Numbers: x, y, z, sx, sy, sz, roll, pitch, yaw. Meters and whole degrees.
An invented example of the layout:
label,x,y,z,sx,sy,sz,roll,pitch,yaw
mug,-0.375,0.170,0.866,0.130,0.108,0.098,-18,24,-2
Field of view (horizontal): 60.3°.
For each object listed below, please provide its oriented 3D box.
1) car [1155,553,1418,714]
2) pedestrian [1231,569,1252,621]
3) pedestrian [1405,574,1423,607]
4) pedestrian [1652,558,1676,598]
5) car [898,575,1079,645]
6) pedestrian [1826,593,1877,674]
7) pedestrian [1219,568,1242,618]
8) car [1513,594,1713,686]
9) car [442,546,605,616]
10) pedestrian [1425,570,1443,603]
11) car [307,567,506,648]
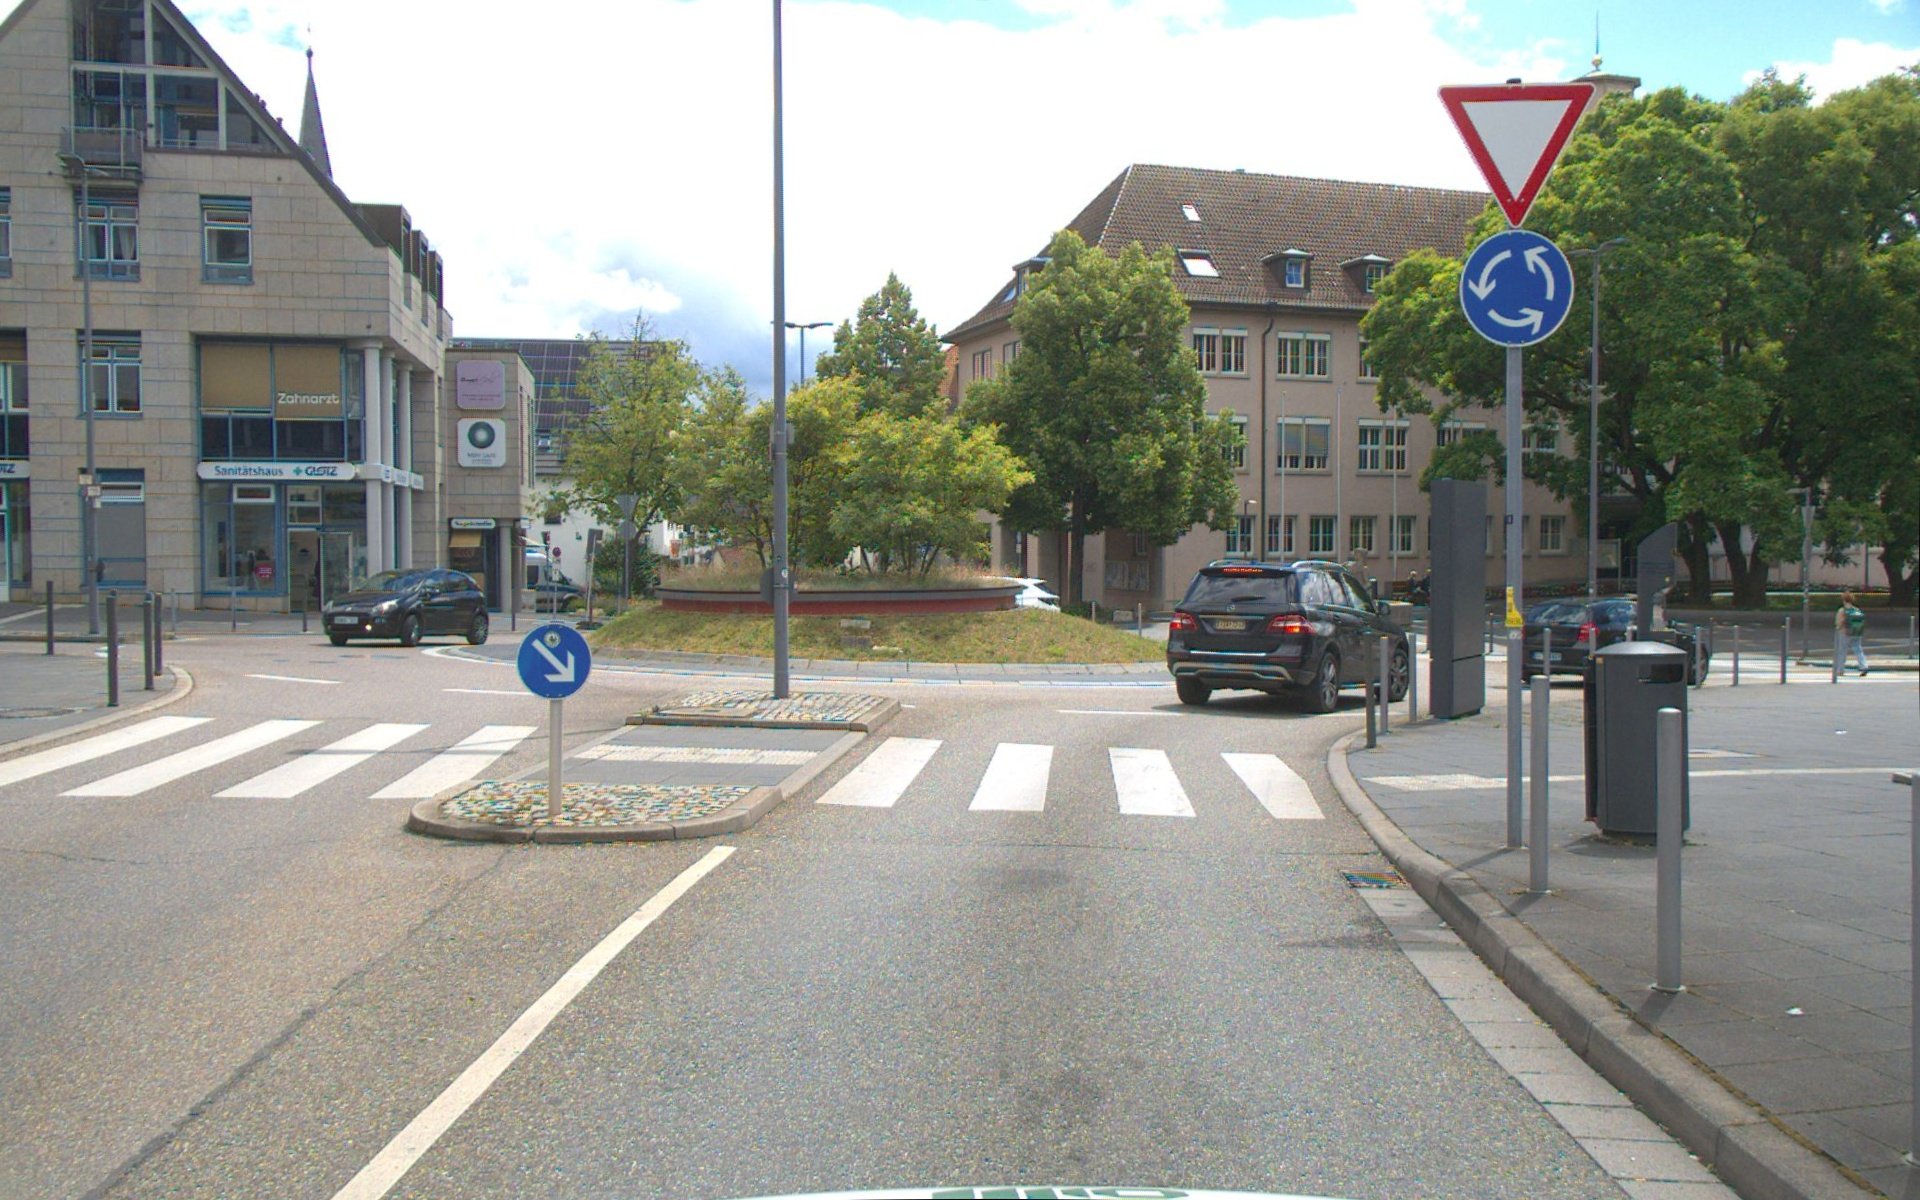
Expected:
label,x,y,z,sx,sy,sz,roll,pitch,yaw
car,4.273,0.306,21.073,1.989,1.757,4.426,2,3,29
pedestrian,9.066,-0.163,53.249,0.561,1.636,0.438,1,4,-2
pedestrian,16.881,-0.360,61.490,0.477,1.203,0.579,2,1,31
pedestrian,27.662,-0.863,64.991,0.683,1.518,0.816,2,1,10
car,0.720,0.239,40.705,4.164,1.604,1.851,-1,1,11
pedestrian,17.646,0.648,32.751,0.539,1.540,0.788,-1,3,-3
pedestrian,8.810,-0.231,53.886,0.623,1.549,0.577,1,4,-1
car,10.934,0.622,27.590,3.803,1.407,1.589,0,1,-42
car,-17.996,-0.723,68.297,6.207,2.605,2.188,2,-3,-26
pedestrian,17.776,-0.510,62.024,0.477,1.243,0.579,2,1,31
car,-10.570,0.196,31.934,1.662,1.444,4.121,0,-2,14
